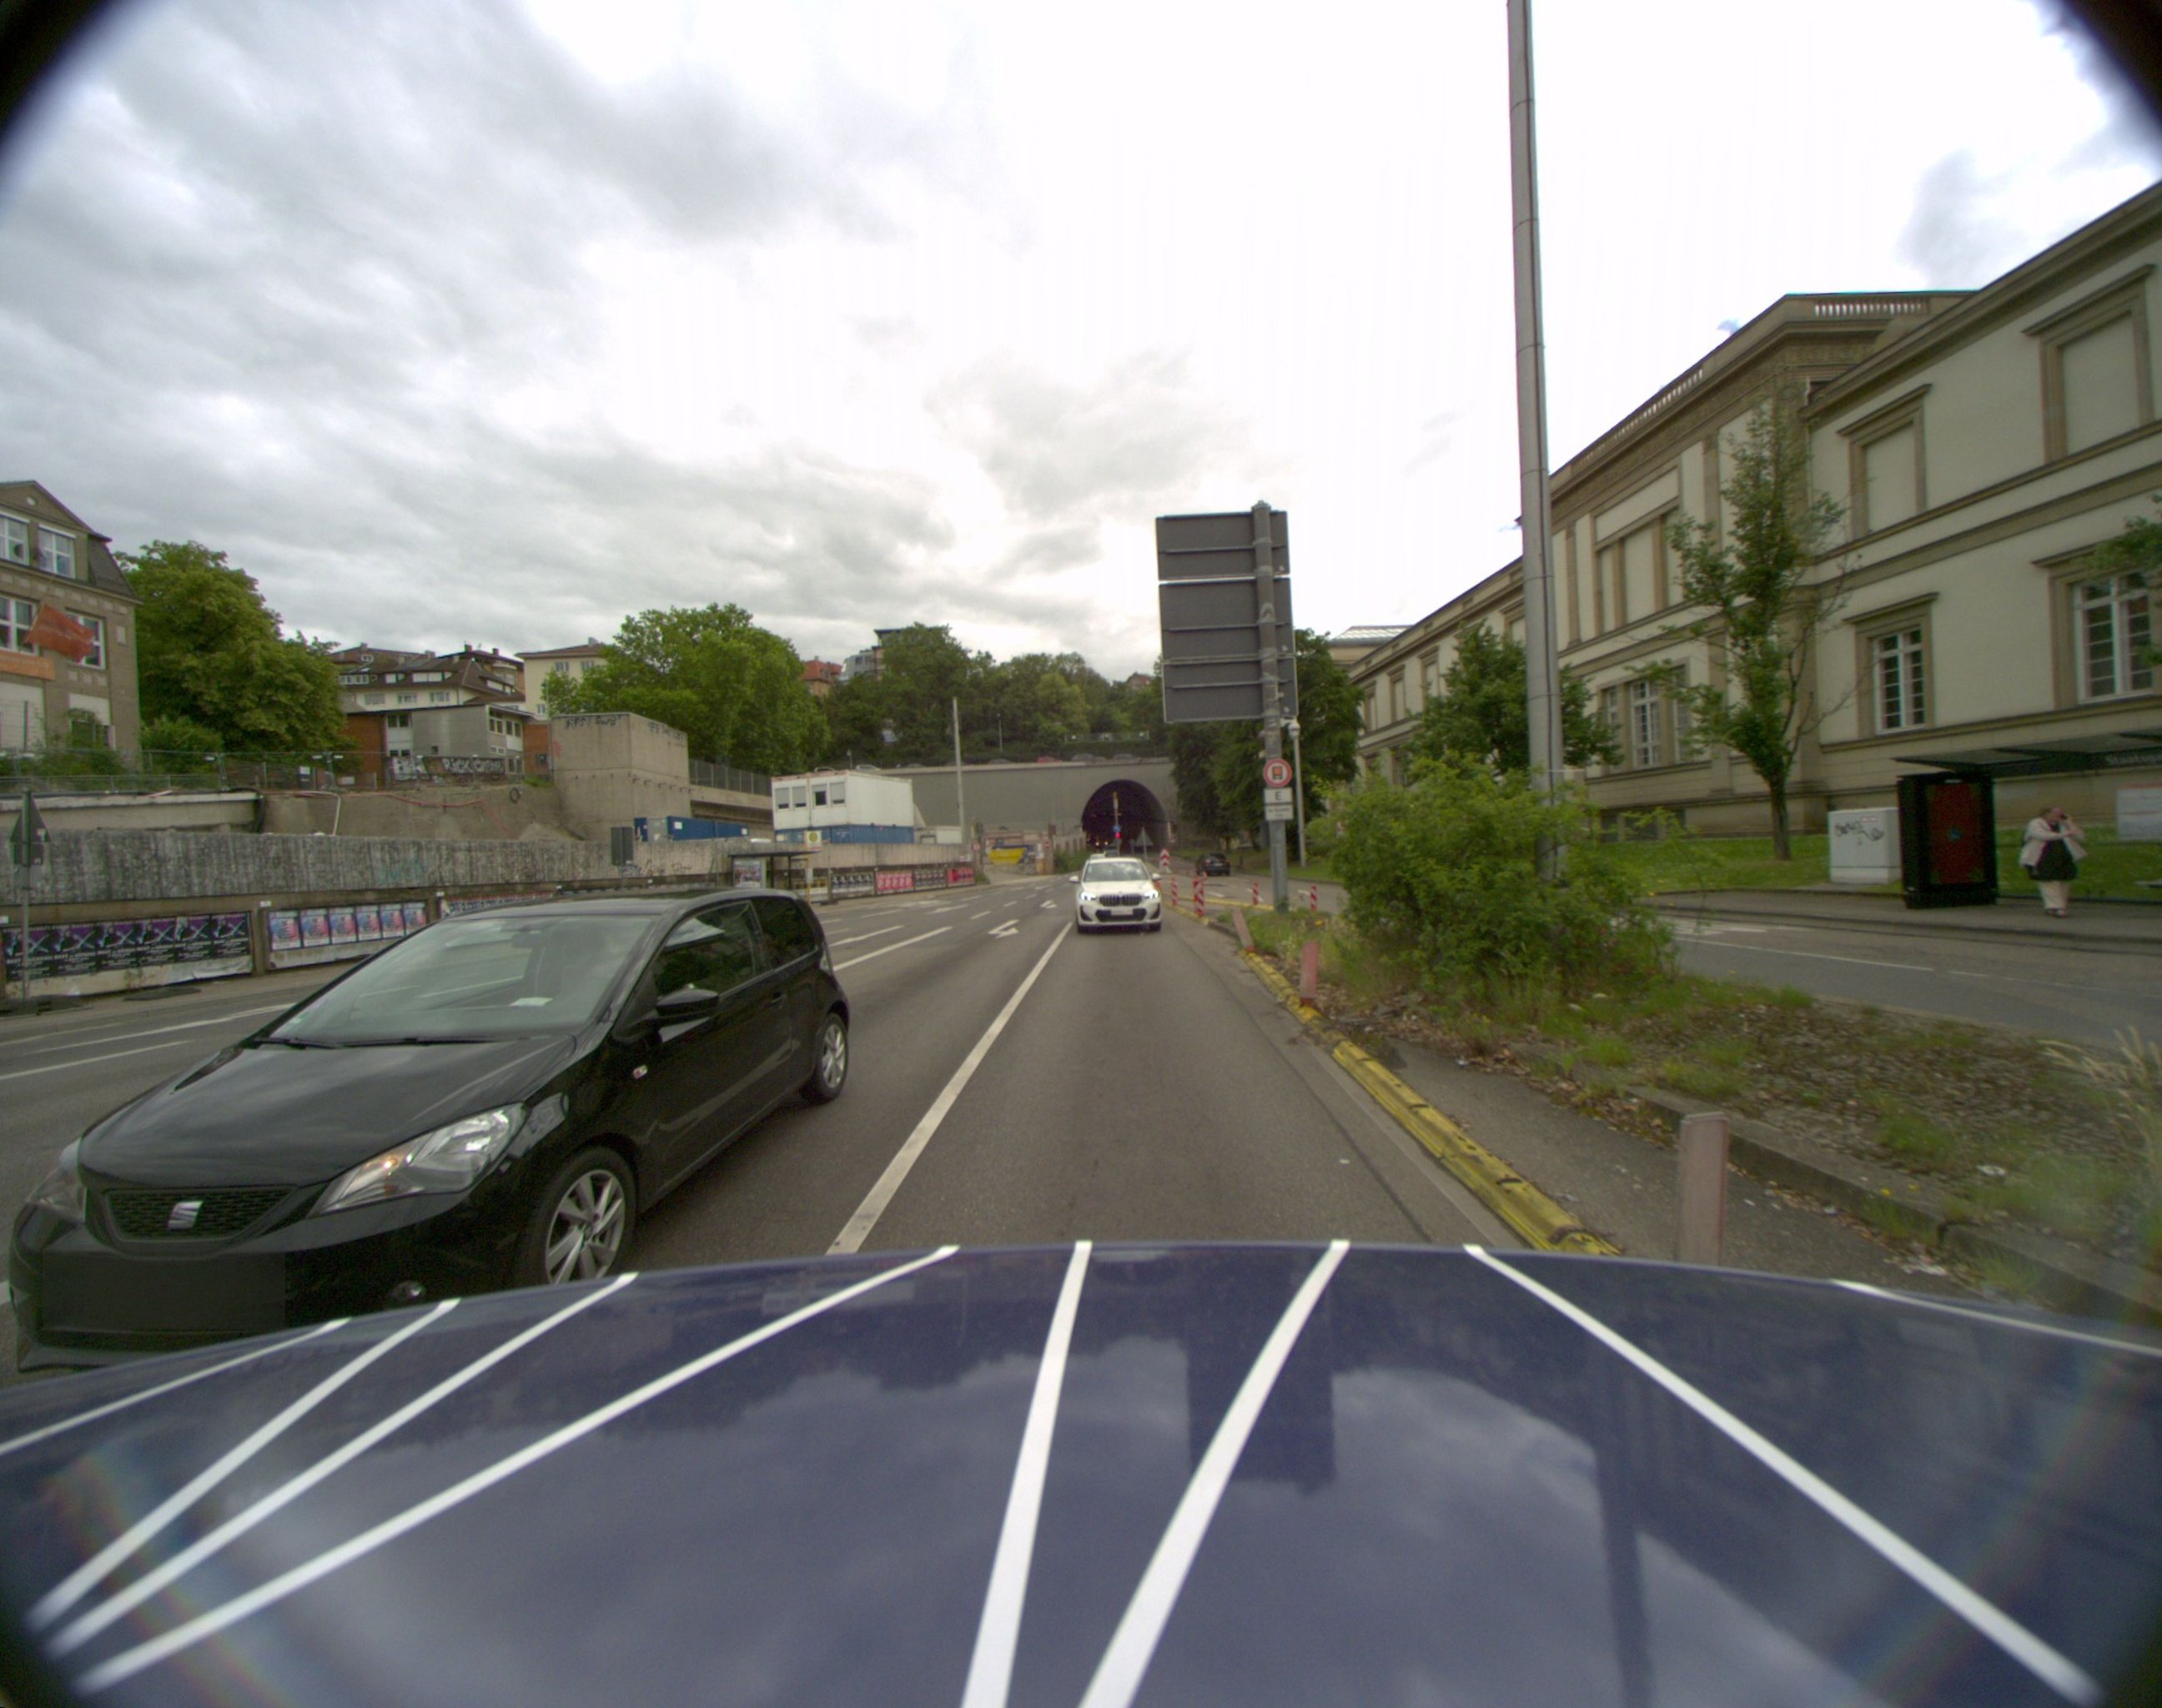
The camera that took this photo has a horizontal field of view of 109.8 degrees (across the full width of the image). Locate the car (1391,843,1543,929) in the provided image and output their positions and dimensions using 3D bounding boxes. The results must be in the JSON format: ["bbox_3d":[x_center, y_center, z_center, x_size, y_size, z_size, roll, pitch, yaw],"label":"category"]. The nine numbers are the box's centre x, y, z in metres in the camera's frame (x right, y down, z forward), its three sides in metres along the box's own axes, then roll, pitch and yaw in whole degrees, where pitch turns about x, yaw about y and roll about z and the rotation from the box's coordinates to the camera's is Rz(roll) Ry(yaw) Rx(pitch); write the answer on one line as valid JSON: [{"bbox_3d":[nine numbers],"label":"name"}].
[{"bbox_3d":[7.739,0.603,15.494,1.539,1.542,2.823,-2,0,-2],"label":"car"}]

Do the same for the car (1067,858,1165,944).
[{"bbox_3d":[0.751,0.939,16.935,1.848,1.581,3.882,-3,0,2],"label":"car"}]

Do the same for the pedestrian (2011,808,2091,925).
[{"bbox_3d":[14.350,0.187,11.253,0.586,1.685,0.459,-2,0,35],"label":"pedestrian"}]

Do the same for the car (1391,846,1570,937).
[{"bbox_3d":[7.927,0.677,15.499,1.667,1.581,3.882,-1,0,2],"label":"car"}]

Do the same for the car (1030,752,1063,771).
[{"bbox_3d":[-4.237,-11.349,93.583,3.998,2.002,1.999,-2,1,-2],"label":"car"}]

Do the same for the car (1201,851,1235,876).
[{"bbox_3d":[9.183,0.592,51.255,1.667,1.581,3.882,-1,0,2],"label":"car"}]

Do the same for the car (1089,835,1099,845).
[{"bbox_3d":[2.251,-2.422,131.381,1.705,1.550,4.550,-3,0,0],"label":"car"}]

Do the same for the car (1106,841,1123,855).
[{"bbox_3d":[3.967,-0.722,89.062,1.826,1.562,4.655,-3,0,4],"label":"car"}]

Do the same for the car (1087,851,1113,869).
[{"bbox_3d":[1.752,0.528,68.980,1.662,1.470,4.003,-3,0,12],"label":"car"}]

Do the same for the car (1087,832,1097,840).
[{"bbox_3d":[1.989,-3.218,136.500,1.728,1.310,4.000,-3,0,0],"label":"car"}]

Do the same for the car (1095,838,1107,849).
[{"bbox_3d":[3.020,-1.501,113.347,1.704,1.550,4.551,-3,0,1],"label":"car"}]

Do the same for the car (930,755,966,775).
[{"bbox_3d":[-16.260,-10.886,93.021,3.998,2.002,1.999,-2,1,-2],"label":"car"}]

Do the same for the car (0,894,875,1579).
[{"bbox_3d":[-2.494,1.090,3.861,1.667,1.487,3.882,-3,0,2],"label":"car"}]

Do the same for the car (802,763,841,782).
[{"bbox_3d":[-31.517,-9.915,92.362,3.999,2.002,1.999,-2,1,-5],"label":"car"}]

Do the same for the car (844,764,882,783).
[{"bbox_3d":[-26.467,-9.737,92.448,3.999,2.002,1.999,-2,1,-5],"label":"car"}]

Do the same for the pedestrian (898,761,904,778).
[{"bbox_3d":[-21.988,-10.361,92.763,0.582,2.002,0.577,-2,1,-3],"label":"pedestrian"}]

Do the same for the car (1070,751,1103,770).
[{"bbox_3d":[0.640,-11.536,93.690,3.998,2.002,1.999,-2,1,-2],"label":"car"}]

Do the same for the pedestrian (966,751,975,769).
[{"bbox_3d":[-13.154,-11.163,90.261,0.851,2.002,0.906,-3,1,-4],"label":"pedestrian"}]
